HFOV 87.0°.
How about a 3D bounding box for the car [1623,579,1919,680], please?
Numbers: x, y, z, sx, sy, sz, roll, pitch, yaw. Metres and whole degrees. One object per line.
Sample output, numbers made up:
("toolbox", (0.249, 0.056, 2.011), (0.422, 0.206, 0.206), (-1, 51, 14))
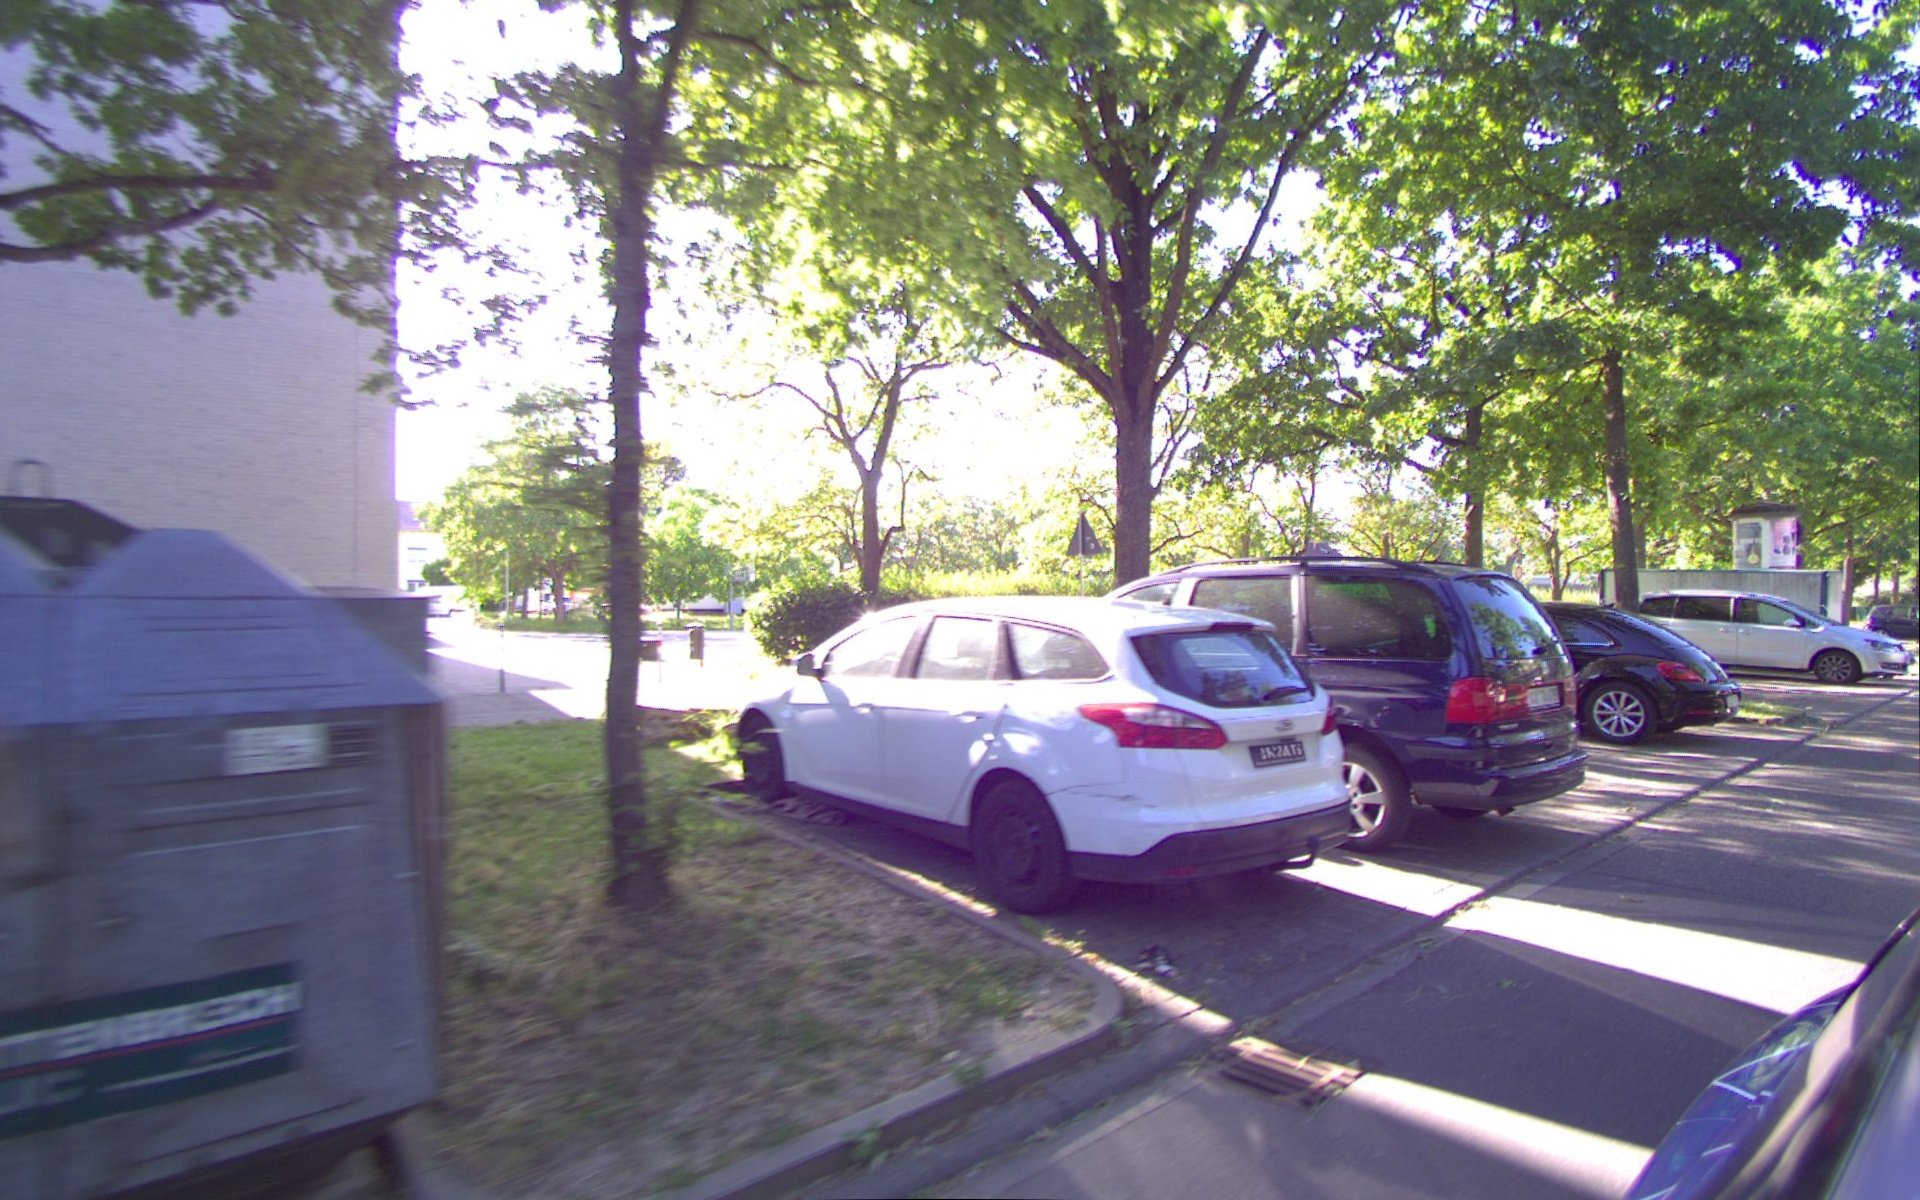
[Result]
("car", (16.448, 0.488, 20.537), (1.952, 1.744, 4.652), (0, 2, -40))

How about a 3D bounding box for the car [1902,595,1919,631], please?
("car", (44.207, 0.610, 44.707), (1.754, 1.596, 3.592), (0, 2, -39))

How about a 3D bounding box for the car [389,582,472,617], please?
("car", (-41.983, -0.054, 80.416), (5.354, 2.643, 2.351), (-1, -1, -10))

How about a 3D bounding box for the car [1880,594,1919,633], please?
("car", (40.429, 0.582, 41.669), (1.825, 1.596, 3.589), (0, 2, -41))

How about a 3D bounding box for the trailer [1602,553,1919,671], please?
("trailer", (18.092, 0.148, 22.899), (1.655, 2.346, 5.790), (0, 2, -38))

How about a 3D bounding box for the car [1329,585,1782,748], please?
("car", (6.911, 0.621, 12.125), (2.041, 1.538, 4.255), (0, 1, -39))

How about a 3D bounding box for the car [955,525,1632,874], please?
("car", (2.146, 0.467, 7.646), (1.902, 1.823, 4.539), (0, 1, -40))

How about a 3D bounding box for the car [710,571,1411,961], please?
("car", (0.231, 0.600, 6.139), (1.768, 1.490, 4.231), (0, 1, -39))
